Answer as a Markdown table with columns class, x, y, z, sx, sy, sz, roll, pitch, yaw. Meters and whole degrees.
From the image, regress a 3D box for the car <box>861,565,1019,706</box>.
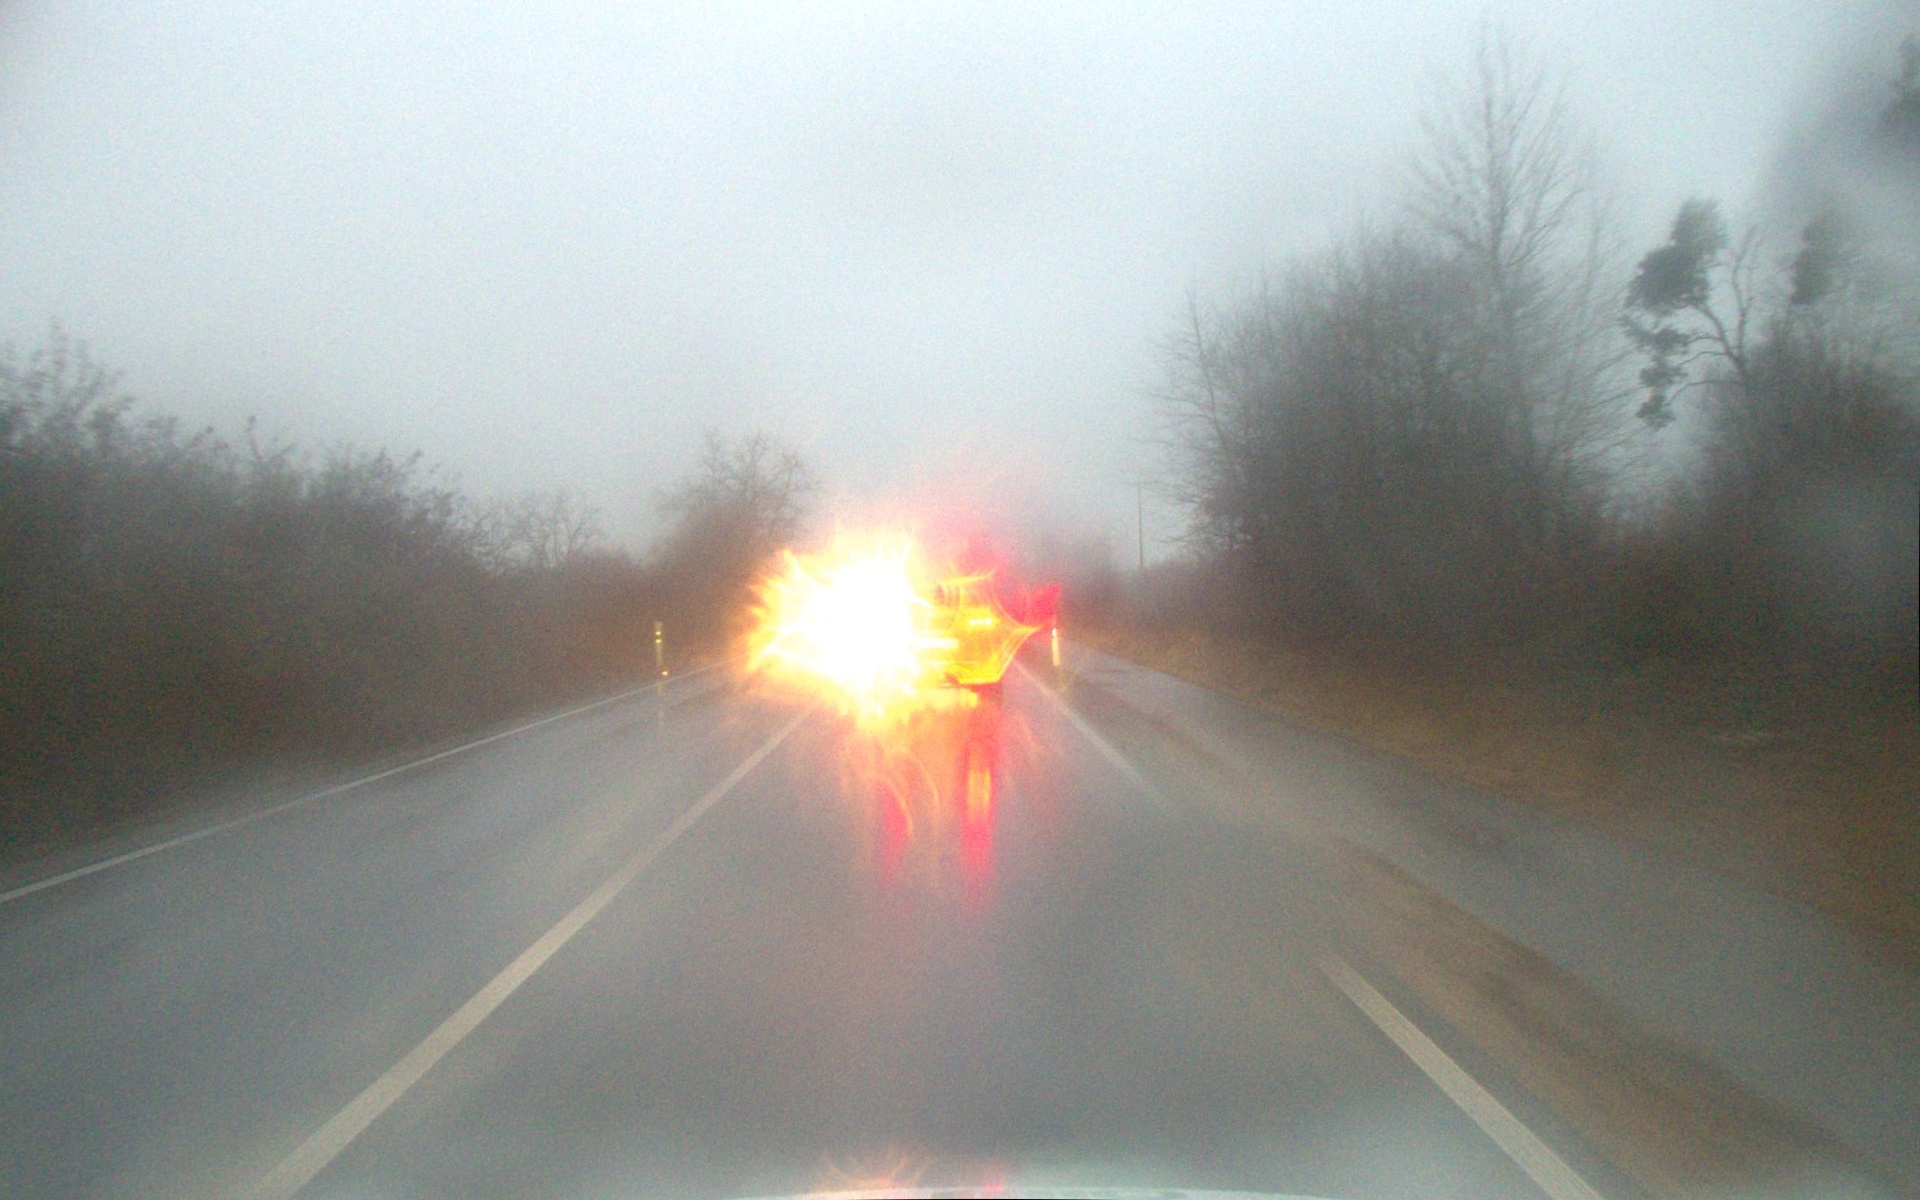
| class | x | y | z | sx | sy | sz | roll | pitch | yaw |
| --- | --- | --- | --- | --- | --- | --- | --- | --- | --- |
| car | -0.290 | 0.455 | 24.223 | 2.077 | 1.852 | 4.979 | 0 | 0 | -1 |

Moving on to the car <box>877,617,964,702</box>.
| class | x | y | z | sx | sy | sz | roll | pitch | yaw |
| --- | --- | --- | --- | --- | --- | --- | --- | --- | --- |
| car | -0.917 | 1.375 | 39.575 | 1.953 | 1.881 | 3.999 | 1 | 0 | -1 |

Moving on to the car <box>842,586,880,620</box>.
| class | x | y | z | sx | sy | sz | roll | pitch | yaw |
| --- | --- | --- | --- | --- | --- | --- | --- | --- | --- |
| car | -4.661 | 0.131 | 78.014 | 1.599 | 1.482 | 3.981 | -2 | 0 | -1 |
